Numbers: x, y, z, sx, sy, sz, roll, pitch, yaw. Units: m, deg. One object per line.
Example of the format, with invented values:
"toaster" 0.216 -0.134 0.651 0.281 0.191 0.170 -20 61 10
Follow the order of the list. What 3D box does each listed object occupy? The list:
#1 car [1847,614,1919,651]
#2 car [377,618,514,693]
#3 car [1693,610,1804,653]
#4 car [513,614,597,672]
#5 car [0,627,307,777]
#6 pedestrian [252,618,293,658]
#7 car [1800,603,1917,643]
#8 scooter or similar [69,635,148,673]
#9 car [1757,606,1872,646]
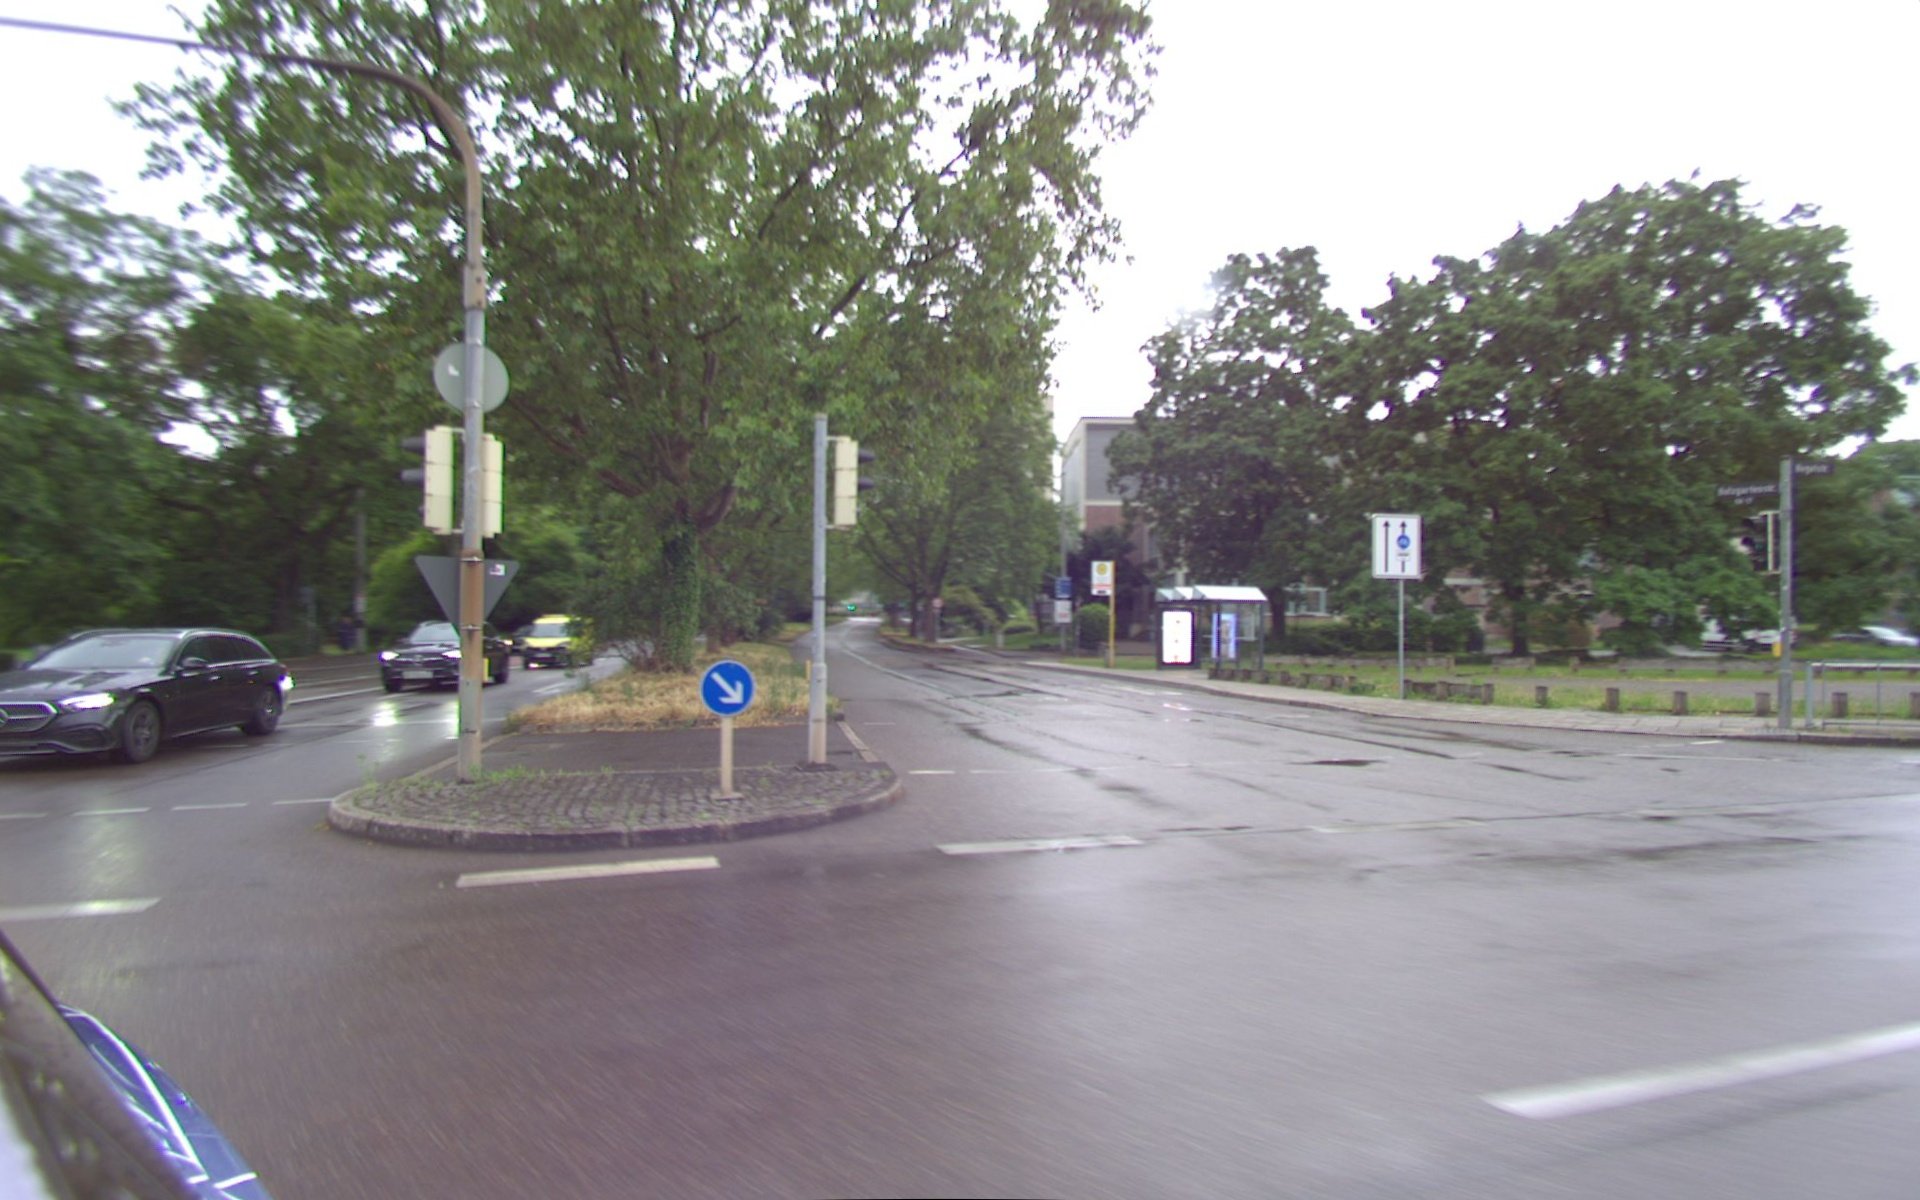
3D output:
"car" 55.784 1.920 60.699 1.977 2.029 3.990 -1 0 8
"car" -12.459 1.284 24.832 1.805 1.620 4.587 -1 -1 -11
"car" 44.344 1.727 57.109 2.257 2.195 5.077 -1 0 1
"car" -14.679 1.529 36.929 1.855 1.890 4.751 -2 -1 -10
"car" -10.074 1.069 12.355 1.854 1.456 4.942 0 -1 -12
"pedestrian" -28.563 1.579 42.065 1.067 1.618 1.047 -1 0 31
"car" 51.357 1.274 58.002 2.257 2.090 5.075 -1 0 2
"scooter or similar" -26.090 1.634 31.047 0.552 1.109 1.885 2 -2 10
"car" 48.525 1.433 57.627 2.257 2.037 5.077 -1 0 1
